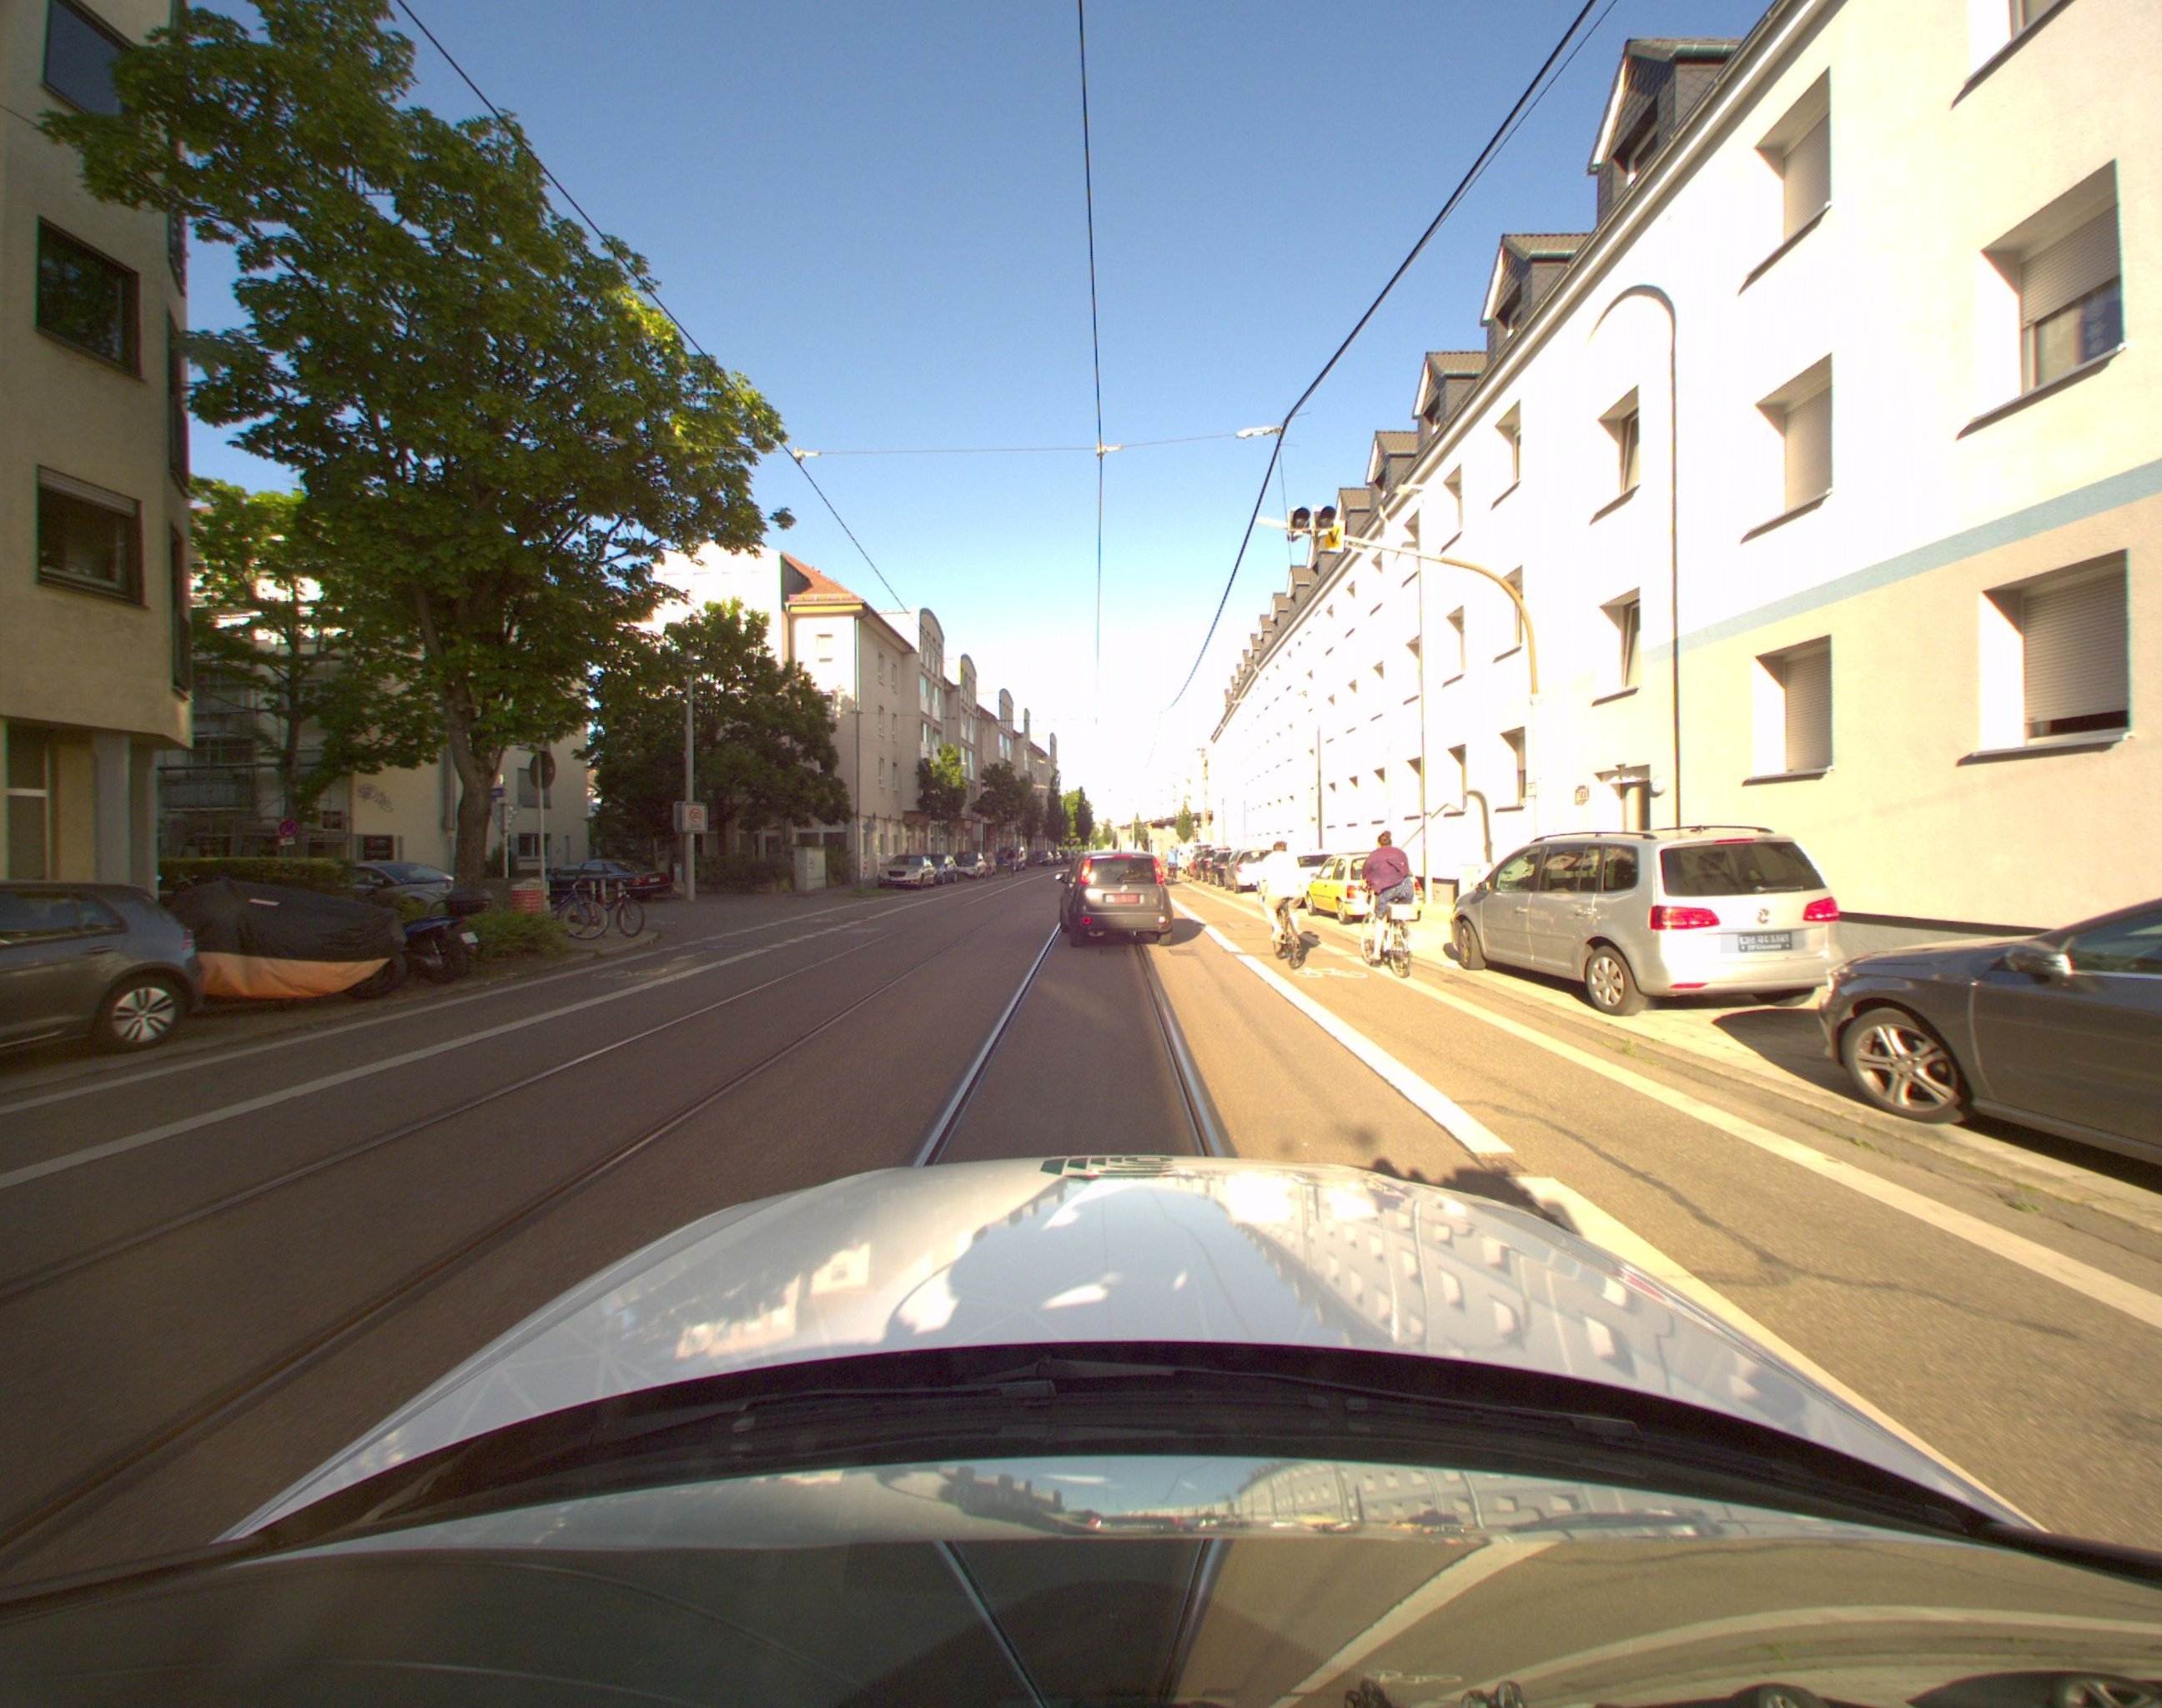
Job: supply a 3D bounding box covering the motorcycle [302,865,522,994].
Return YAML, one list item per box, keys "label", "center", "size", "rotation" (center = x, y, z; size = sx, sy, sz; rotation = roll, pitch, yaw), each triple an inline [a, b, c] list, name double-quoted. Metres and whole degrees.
- label: "motorcycle"
  center: [-8.065, 0.878, 9.892]
  size: [1.966, 1.447, 0.719]
  rotation: [-1, 0, -6]

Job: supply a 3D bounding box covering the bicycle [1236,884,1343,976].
- label: "bicycle"
  center: [2.715, 0.949, 10.981]
  size: [0.736, 0.924, 2.837]
  rotation: [2, 0, 1]

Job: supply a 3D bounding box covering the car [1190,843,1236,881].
- label: "car"
  center: [6.402, 0.358, 39.809]
  size: [1.654, 1.669, 3.907]
  rotation: [-4, 0, 3]

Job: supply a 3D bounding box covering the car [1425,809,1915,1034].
- label: "car"
  center: [5.549, 0.502, 8.625]
  size: [1.750, 1.665, 4.624]
  rotation: [-3, 0, -1]

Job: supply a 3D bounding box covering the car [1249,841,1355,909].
- label: "car"
  center: [5.748, 0.486, 21.720]
  size: [1.673, 1.571, 4.511]
  rotation: [-2, 0, 2]

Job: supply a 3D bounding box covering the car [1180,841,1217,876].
- label: "car"
  center: [7.102, 0.231, 49.445]
  size: [1.779, 1.970, 4.158]
  rotation: [-2, 0, 3]

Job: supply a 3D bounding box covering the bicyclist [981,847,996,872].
- label: "bicyclist"
  center: [-5.278, 0.299, 46.497]
  size: [0.621, 1.380, 0.868]
  rotation: [-5, 0, 2]

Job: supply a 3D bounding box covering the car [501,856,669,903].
- label: "car"
  center: [-16.142, 0.817, 26.591]
  size: [4.532, 1.388, 1.717]
  rotation: [-1, 0, 6]

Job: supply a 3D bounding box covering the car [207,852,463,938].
- label: "car"
  center: [-16.381, 0.870, 18.020]
  size: [3.967, 1.659, 1.913]
  rotation: [-1, 2, 5]

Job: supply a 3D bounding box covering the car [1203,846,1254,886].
- label: "car"
  center: [6.238, 0.467, 34.729]
  size: [1.585, 1.537, 4.011]
  rotation: [-3, 0, 3]

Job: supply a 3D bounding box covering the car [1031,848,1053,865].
- label: "car"
  center: [-3.784, 0.197, 78.631]
  size: [1.658, 1.618, 4.004]
  rotation: [-1, 0, 4]

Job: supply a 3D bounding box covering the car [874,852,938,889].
- label: "car"
  center: [-7.437, 0.660, 34.931]
  size: [1.738, 1.443, 4.002]
  rotation: [1, 1, 1]

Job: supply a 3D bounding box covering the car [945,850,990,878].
- label: "car"
  center: [-6.767, 0.563, 48.850]
  size: [1.822, 1.593, 4.004]
  rotation: [-1, 0, 4]

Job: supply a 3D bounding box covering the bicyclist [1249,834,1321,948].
- label: "bicyclist"
  center: [2.743, 0.478, 11.047]
  size: [0.725, 1.462, 1.021]
  rotation: [-1, 0, 1]

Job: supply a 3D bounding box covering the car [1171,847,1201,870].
- label: "car"
  center: [7.799, 0.310, 60.935]
  size: [1.836, 1.646, 4.552]
  rotation: [-1, 0, 3]

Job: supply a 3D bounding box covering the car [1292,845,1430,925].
- label: "car"
  center: [5.806, 0.566, 17.405]
  size: [1.508, 1.430, 4.202]
  rotation: [-3, 0, 1]

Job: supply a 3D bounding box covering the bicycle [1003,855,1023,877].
- label: "bicycle"
  center: [-3.893, 0.683, 46.750]
  size: [0.836, 1.149, 2.234]
  rotation: [-5, 0, 2]

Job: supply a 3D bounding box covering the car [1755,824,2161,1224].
- label: "car"
  center: [5.211, 0.664, 3.063]
  size: [1.856, 1.554, 4.370]
  rotation: [-2, 0, 3]

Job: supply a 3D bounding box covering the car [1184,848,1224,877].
- label: "car"
  center: [6.773, 0.454, 45.008]
  size: [1.788, 1.483, 3.781]
  rotation: [-1, 0, 3]

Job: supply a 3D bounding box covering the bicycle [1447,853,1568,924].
- label: "bicycle"
  center: [8.014, 0.606, 15.474]
  size: [1.092, 1.197, 2.327]
  rotation: [-1, 0, 0]

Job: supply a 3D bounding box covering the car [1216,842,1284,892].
- label: "car"
  center: [6.051, 0.437, 29.529]
  size: [1.747, 1.571, 3.907]
  rotation: [-4, 0, 3]

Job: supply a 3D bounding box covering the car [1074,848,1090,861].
- label: "car"
  center: [0.127, 0.113, 107.388]
  size: [1.836, 1.646, 3.700]
  rotation: [-1, 0, 3]

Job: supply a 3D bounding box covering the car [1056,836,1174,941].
- label: "car"
  center: [0.461, 0.549, 13.910]
  size: [1.554, 1.533, 3.480]
  rotation: [-1, -1, -5]

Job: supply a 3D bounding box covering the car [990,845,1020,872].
- label: "car"
  center: [-5.827, 0.307, 62.900]
  size: [1.658, 1.986, 4.347]
  rotation: [-1, 0, 4]

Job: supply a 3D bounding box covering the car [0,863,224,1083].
- label: "car"
  center: [-8.576, 0.879, 5.263]
  size: [1.730, 1.542, 4.127]
  rotation: [-1, 0, -2]

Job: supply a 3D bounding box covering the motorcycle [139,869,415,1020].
- label: "motorcycle"
  center: [-8.449, 0.914, 8.652]
  size: [1.966, 1.447, 0.835]
  rotation: [-1, 0, -6]

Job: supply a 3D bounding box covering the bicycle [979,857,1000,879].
- label: "bicycle"
  center: [-5.235, 0.797, 46.713]
  size: [0.836, 1.149, 2.234]
  rotation: [-5, 0, 2]

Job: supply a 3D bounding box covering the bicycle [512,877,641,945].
- label: "bicycle"
  center: [-8.477, 0.947, 13.723]
  size: [1.798, 1.084, 0.596]
  rotation: [-1, 0, 3]

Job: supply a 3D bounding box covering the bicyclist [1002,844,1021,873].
- label: "bicyclist"
  center: [-3.958, 0.261, 46.494]
  size: [0.878, 1.561, 0.868]
  rotation: [-4, 0, 1]

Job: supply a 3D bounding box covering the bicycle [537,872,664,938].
- label: "bicycle"
  center: [-8.437, 0.886, 14.333]
  size: [1.869, 1.084, 0.596]
  rotation: [-1, 0, 3]

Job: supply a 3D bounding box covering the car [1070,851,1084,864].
- label: "car"
  center: [-0.461, 0.422, 101.267]
  size: [1.585, 1.540, 3.193]
  rotation: [-1, 0, 3]

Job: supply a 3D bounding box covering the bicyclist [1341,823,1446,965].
- label: "bicyclist"
  center: [3.855, 0.471, 10.120]
  size: [0.931, 1.676, 0.970]
  rotation: [-1, 0, 1]

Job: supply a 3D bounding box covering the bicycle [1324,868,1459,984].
- label: "bicycle"
  center: [3.872, 0.829, 10.418]
  size: [0.818, 1.236, 2.463]
  rotation: [1, 0, 1]

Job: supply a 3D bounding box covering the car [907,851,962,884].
- label: "car"
  center: [-7.266, 0.641, 40.728]
  size: [1.823, 1.489, 4.002]
  rotation: [-3, 0, 1]

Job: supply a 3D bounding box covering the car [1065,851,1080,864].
- label: "car"
  center: [-1.024, 0.428, 97.110]
  size: [1.585, 1.540, 3.193]
  rotation: [-1, 0, 3]
